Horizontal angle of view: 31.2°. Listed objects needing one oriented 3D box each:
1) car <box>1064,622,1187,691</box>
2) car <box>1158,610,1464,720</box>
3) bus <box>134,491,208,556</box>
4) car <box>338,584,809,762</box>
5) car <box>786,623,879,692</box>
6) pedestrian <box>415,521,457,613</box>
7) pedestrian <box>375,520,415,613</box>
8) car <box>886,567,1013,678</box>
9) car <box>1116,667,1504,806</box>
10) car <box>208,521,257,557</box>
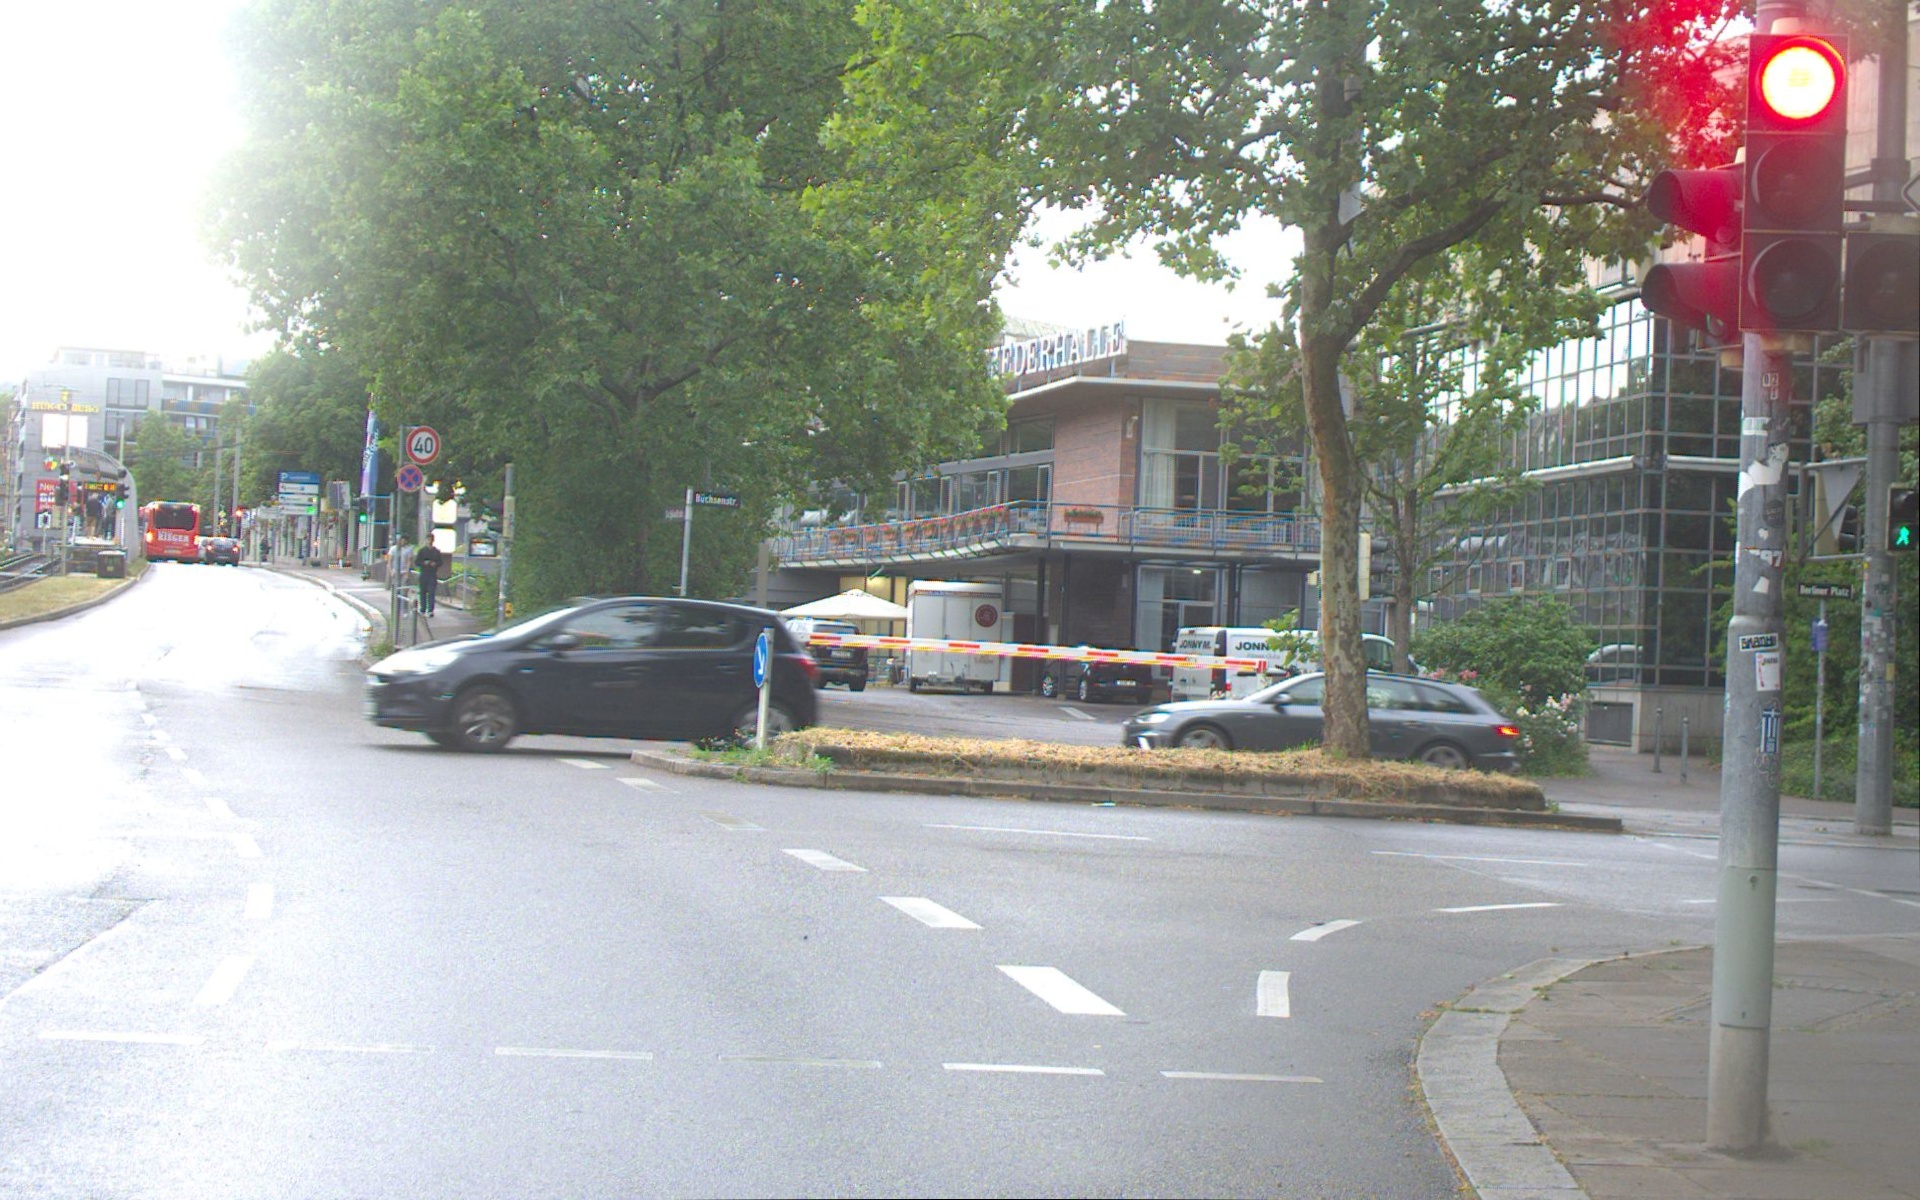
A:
[{"bbox_3d":[4.253,1.449,89.240,2.019,1.546,4.351,3,1,-13],"label":"car"},{"bbox_3d":[6.368,1.177,62.210,5.198,1.725,1.875,3,1,-25],"label":"car"},{"bbox_3d":[-40.493,-3.868,176.418,3.589,3.160,10.423,1,1,-13],"label":"bus"},{"bbox_3d":[-3.450,0.641,30.534,3.857,1.352,1.633,3,1,-17],"label":"car"},{"bbox_3d":[-3.234,1.454,87.953,2.019,1.546,4.350,3,1,2],"label":"car"},{"bbox_3d":[-11.453,-0.722,75.189,0.874,2.007,1.077,1,0,-8],"label":"pedestrian"},{"bbox_3d":[-12.331,-0.733,75.048,0.814,2.007,1.077,1,0,-8],"label":"pedestrian"},{"bbox_3d":[-0.339,0.540,91.428,2.731,2.686,6.923,3,1,-5],"label":"car"},{"bbox_3d":[4.134,1.611,41.119,4.335,1.514,2.000,1,1,-3],"label":"car"},{"bbox_3d":[-38.403,-3.214,181.400,2.362,1.810,5.185,1,1,-13],"label":"car"}]
